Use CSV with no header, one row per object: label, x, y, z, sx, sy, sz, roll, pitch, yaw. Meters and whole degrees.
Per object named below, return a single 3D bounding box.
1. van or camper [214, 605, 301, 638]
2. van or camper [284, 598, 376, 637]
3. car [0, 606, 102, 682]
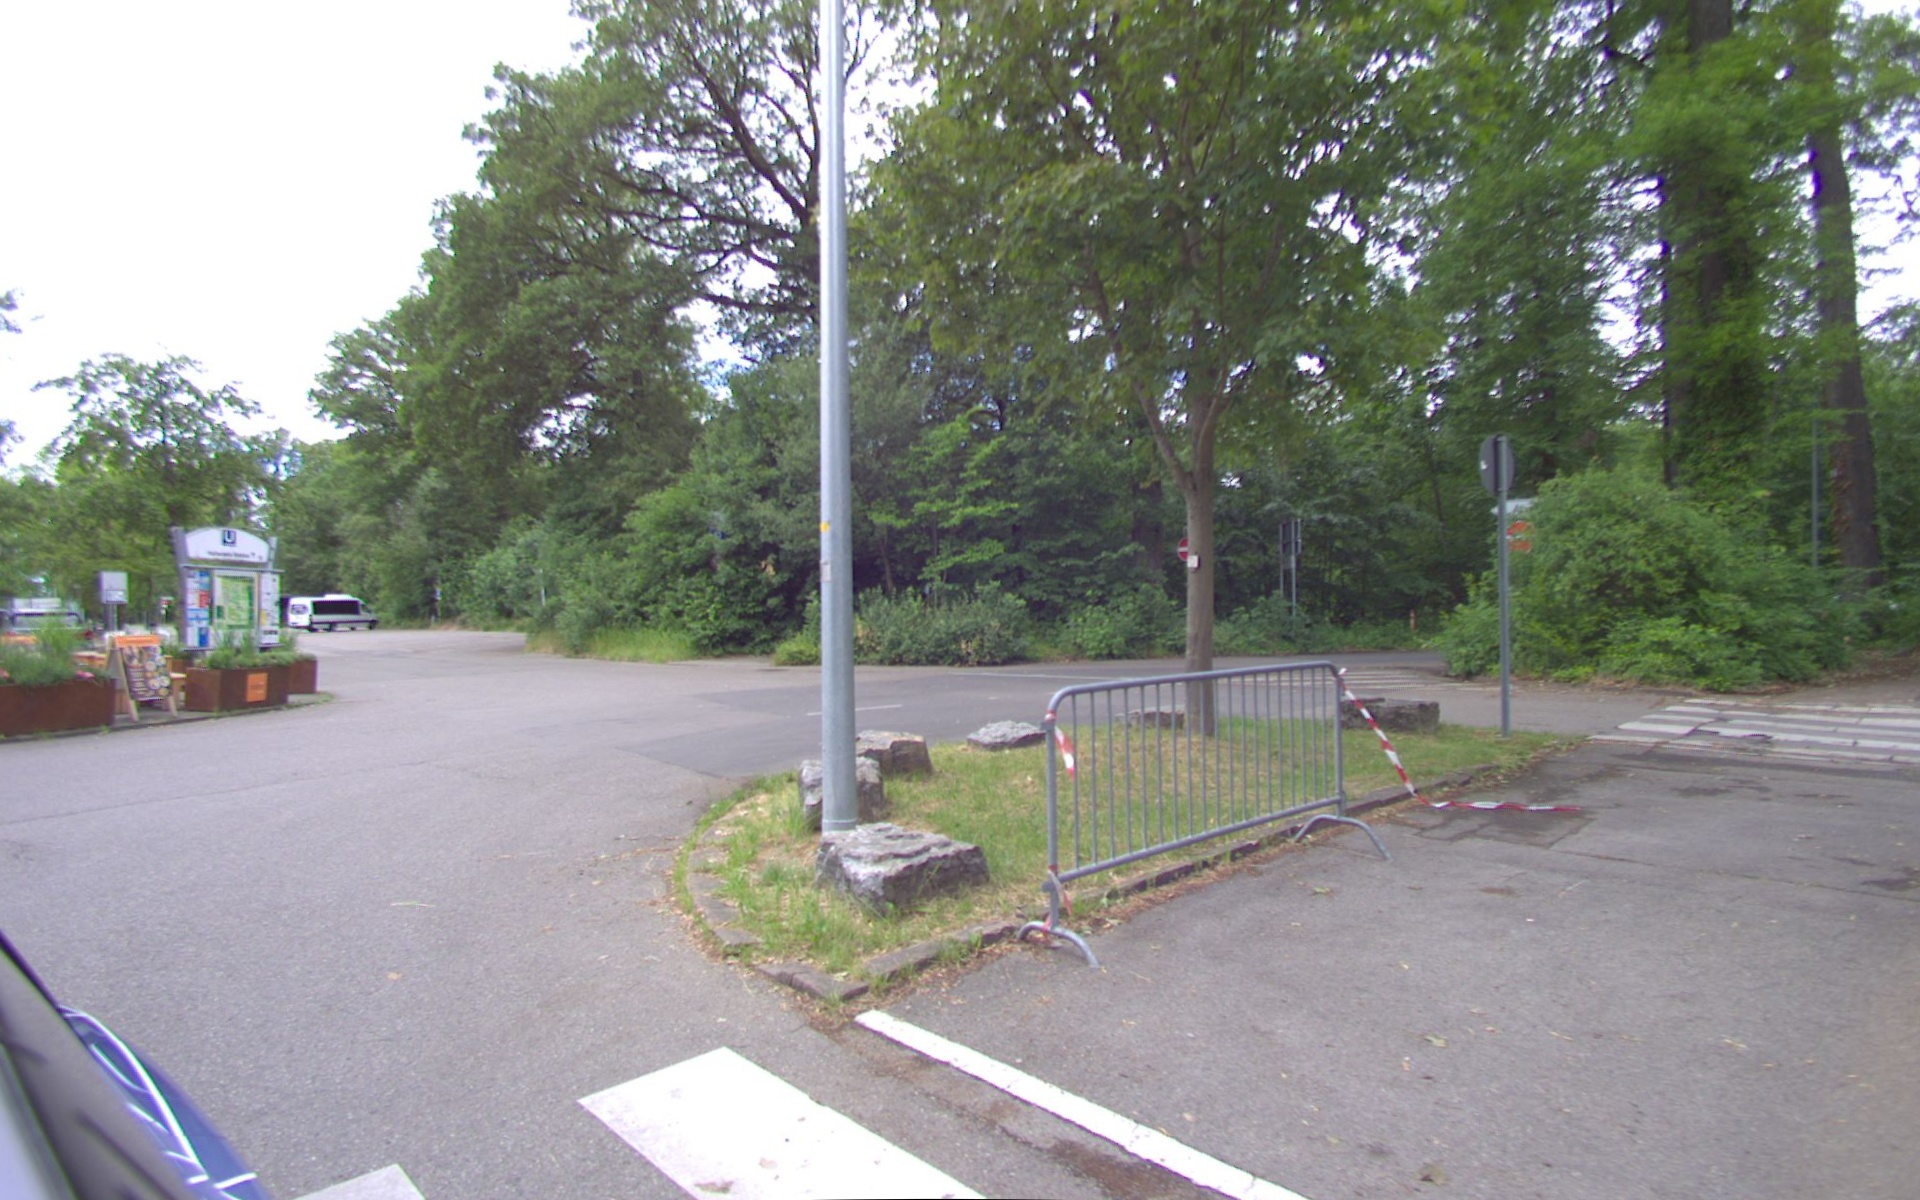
van or camper,-66.862,1.981,96.533,2.180,2.871,7.315,-1,0,11
van or camper,-49.649,1.334,79.983,2.044,2.871,7.325,-1,0,7
car,-23.000,1.052,24.686,4.330,1.682,1.915,-2,0,32
